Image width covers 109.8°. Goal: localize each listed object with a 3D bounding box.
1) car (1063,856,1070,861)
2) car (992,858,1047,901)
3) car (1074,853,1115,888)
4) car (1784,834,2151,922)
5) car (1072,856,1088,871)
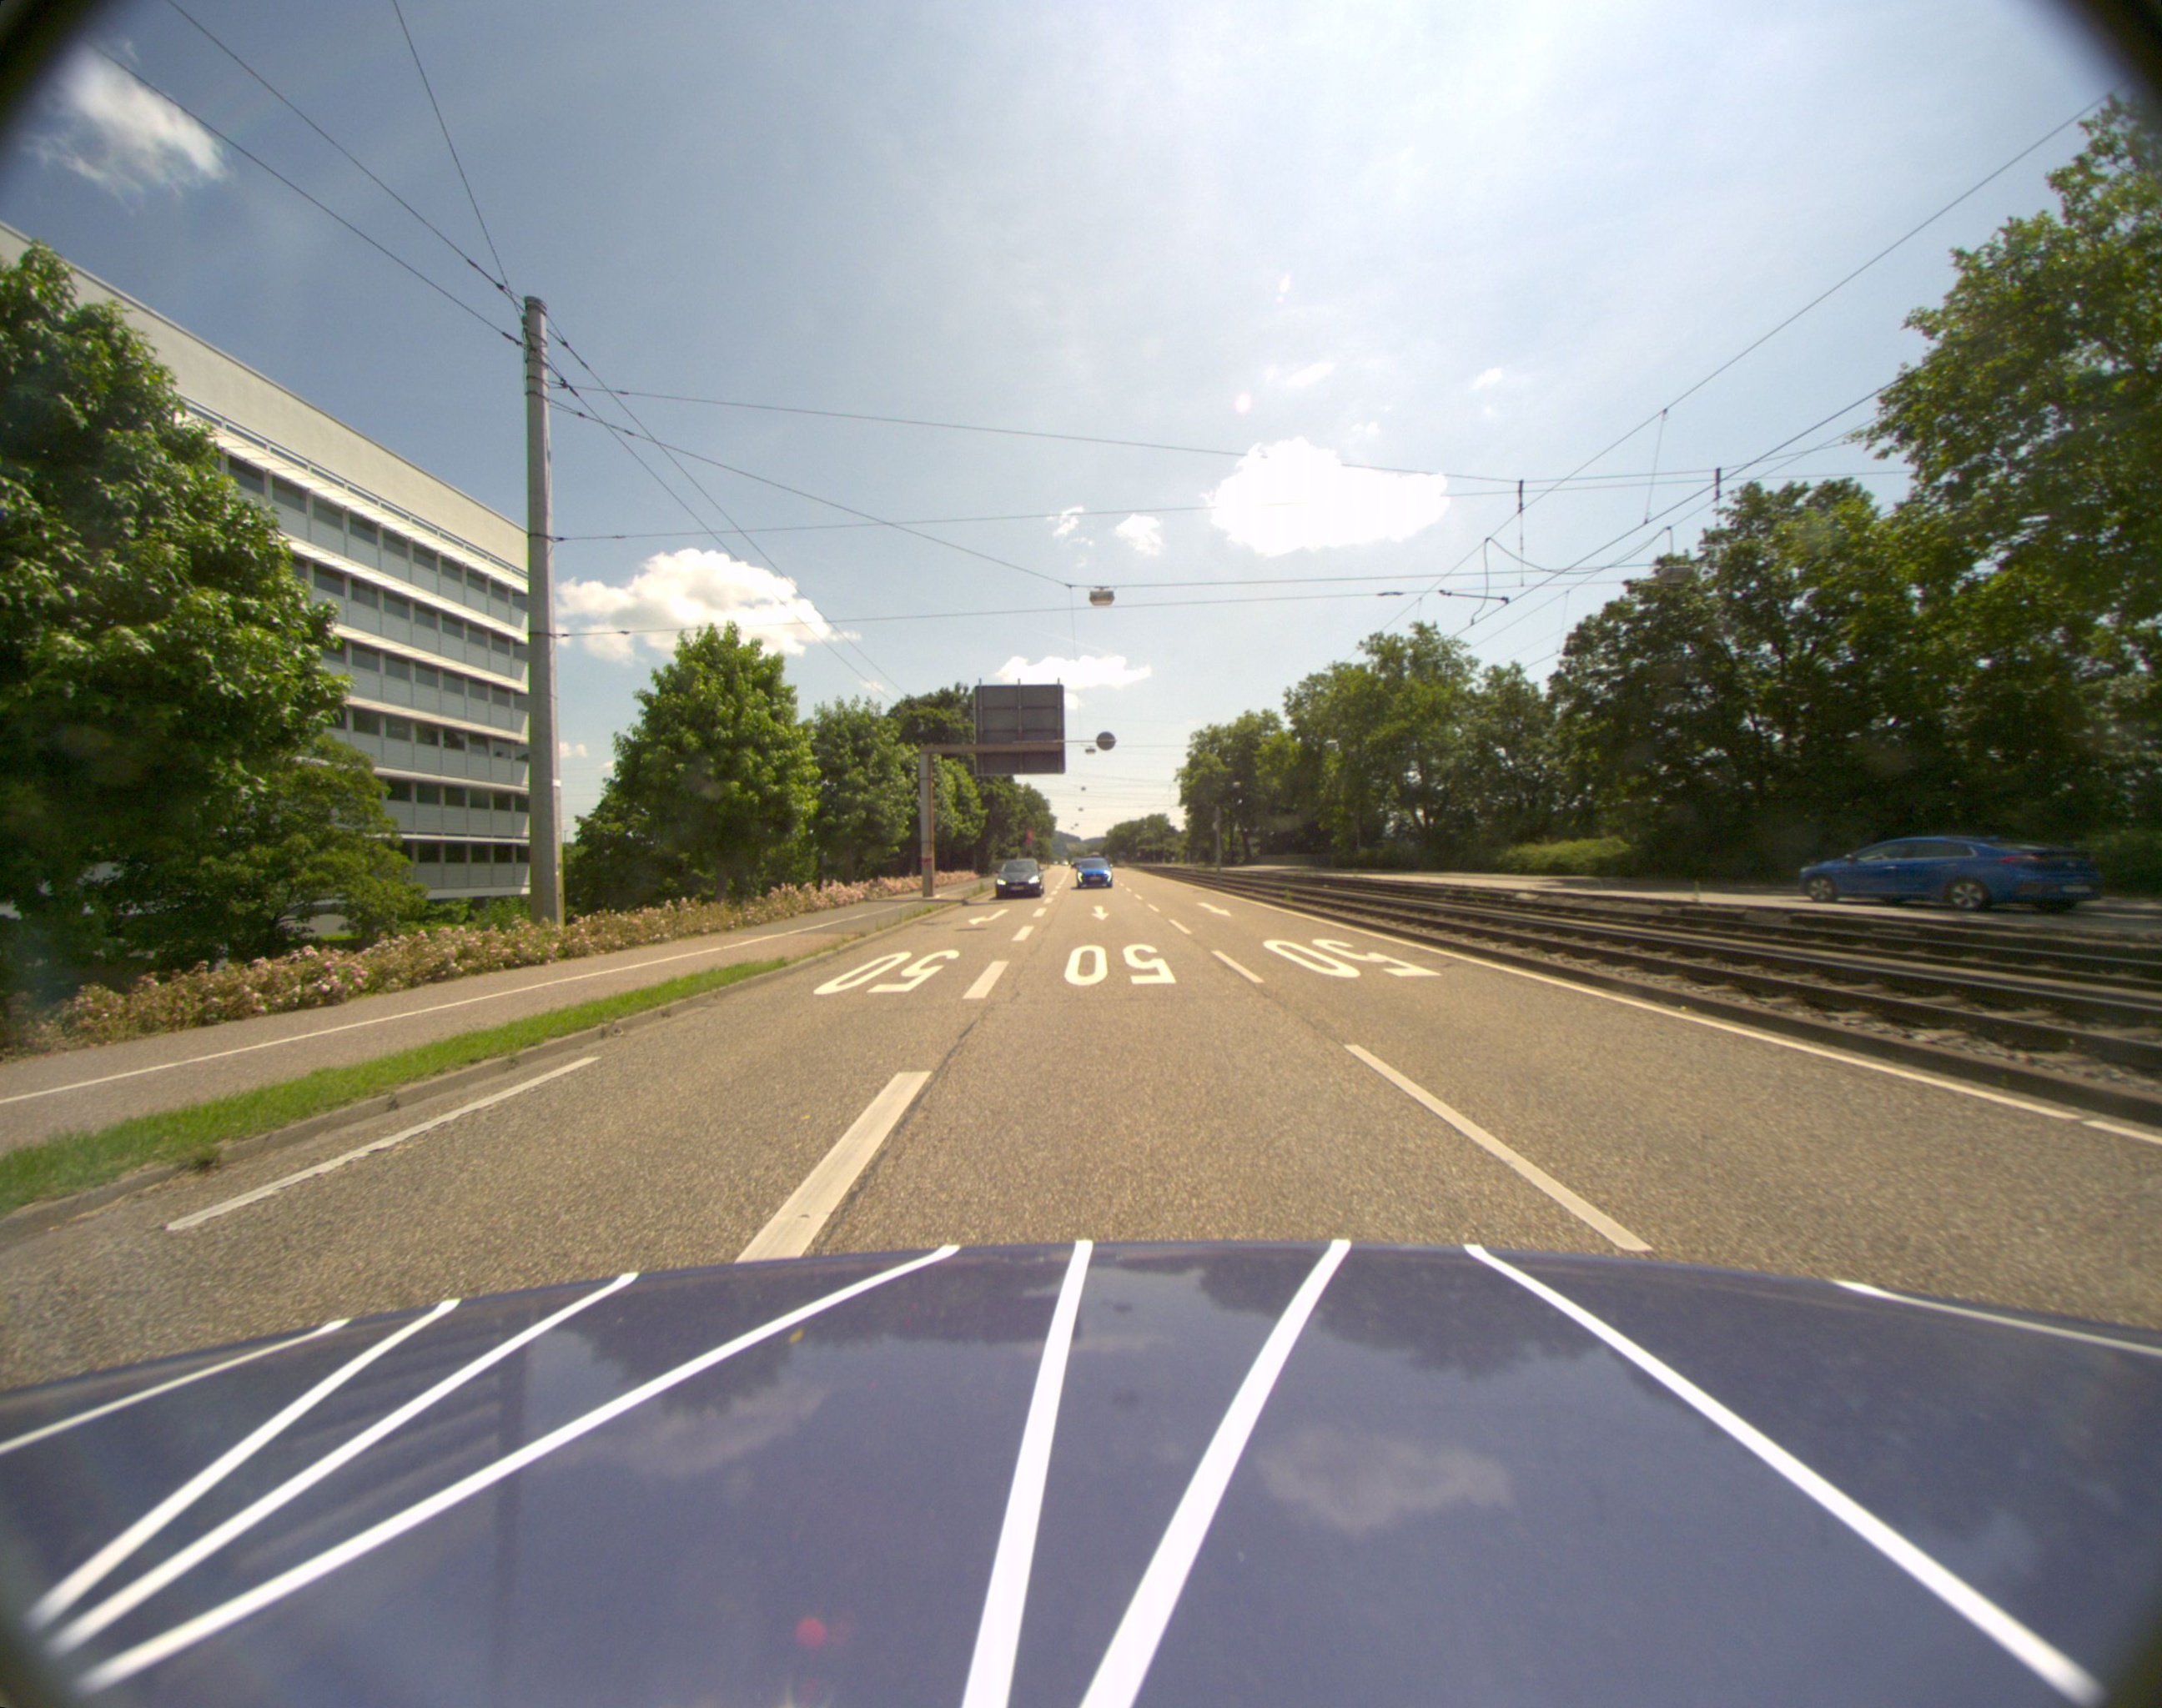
[{"bbox_3d":[-4.140,1.290,217.024,1.896,1.331,4.000,-3,0,1],"label":"car"},{"bbox_3d":[-2.425,0.976,30.946,1.765,1.517,4.099,-3,0,1],"label":"car"},{"bbox_3d":[0.605,0.836,36.666,1.842,1.445,4.003,1,-4,0],"label":"car"},{"bbox_3d":[17.335,0.404,15.346,1.803,1.495,4.735,0,0,-2],"label":"car"},{"bbox_3d":[-0.126,1.357,107.736,1.998,2.002,4.000,-4,0,0],"label":"car"}]
